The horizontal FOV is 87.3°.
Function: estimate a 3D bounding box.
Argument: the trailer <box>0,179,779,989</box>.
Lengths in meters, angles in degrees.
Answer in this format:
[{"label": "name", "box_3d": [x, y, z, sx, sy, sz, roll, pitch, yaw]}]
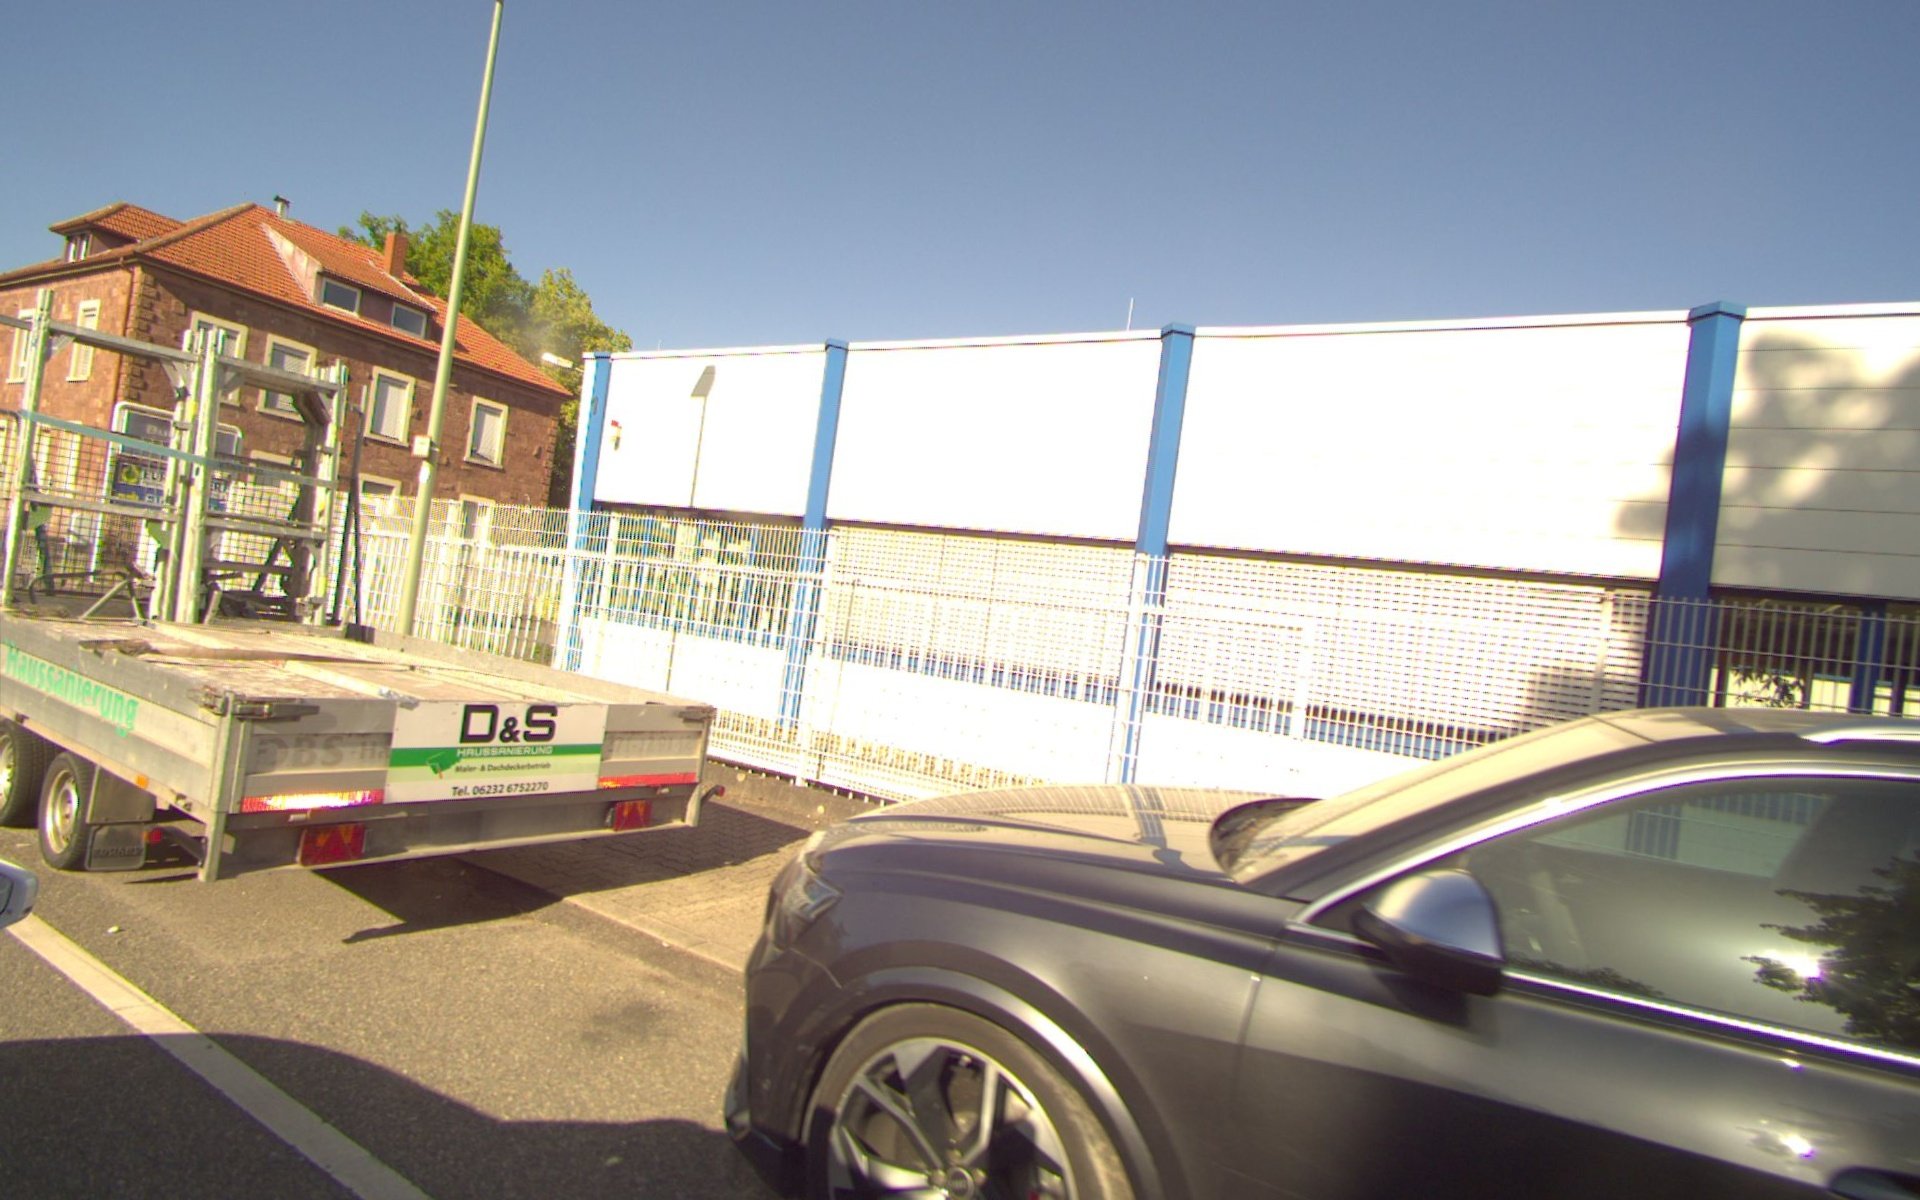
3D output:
[{"label": "trailer", "box_3d": [-4.142, -0.221, 5.860, 5.607, 2.704, 2.464, 7, -1, 32]}]

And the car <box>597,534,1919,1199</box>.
[{"label": "car", "box_3d": [1.653, 1.006, 2.222, 4.653, 1.685, 1.999, 7, -3, 32]}]
